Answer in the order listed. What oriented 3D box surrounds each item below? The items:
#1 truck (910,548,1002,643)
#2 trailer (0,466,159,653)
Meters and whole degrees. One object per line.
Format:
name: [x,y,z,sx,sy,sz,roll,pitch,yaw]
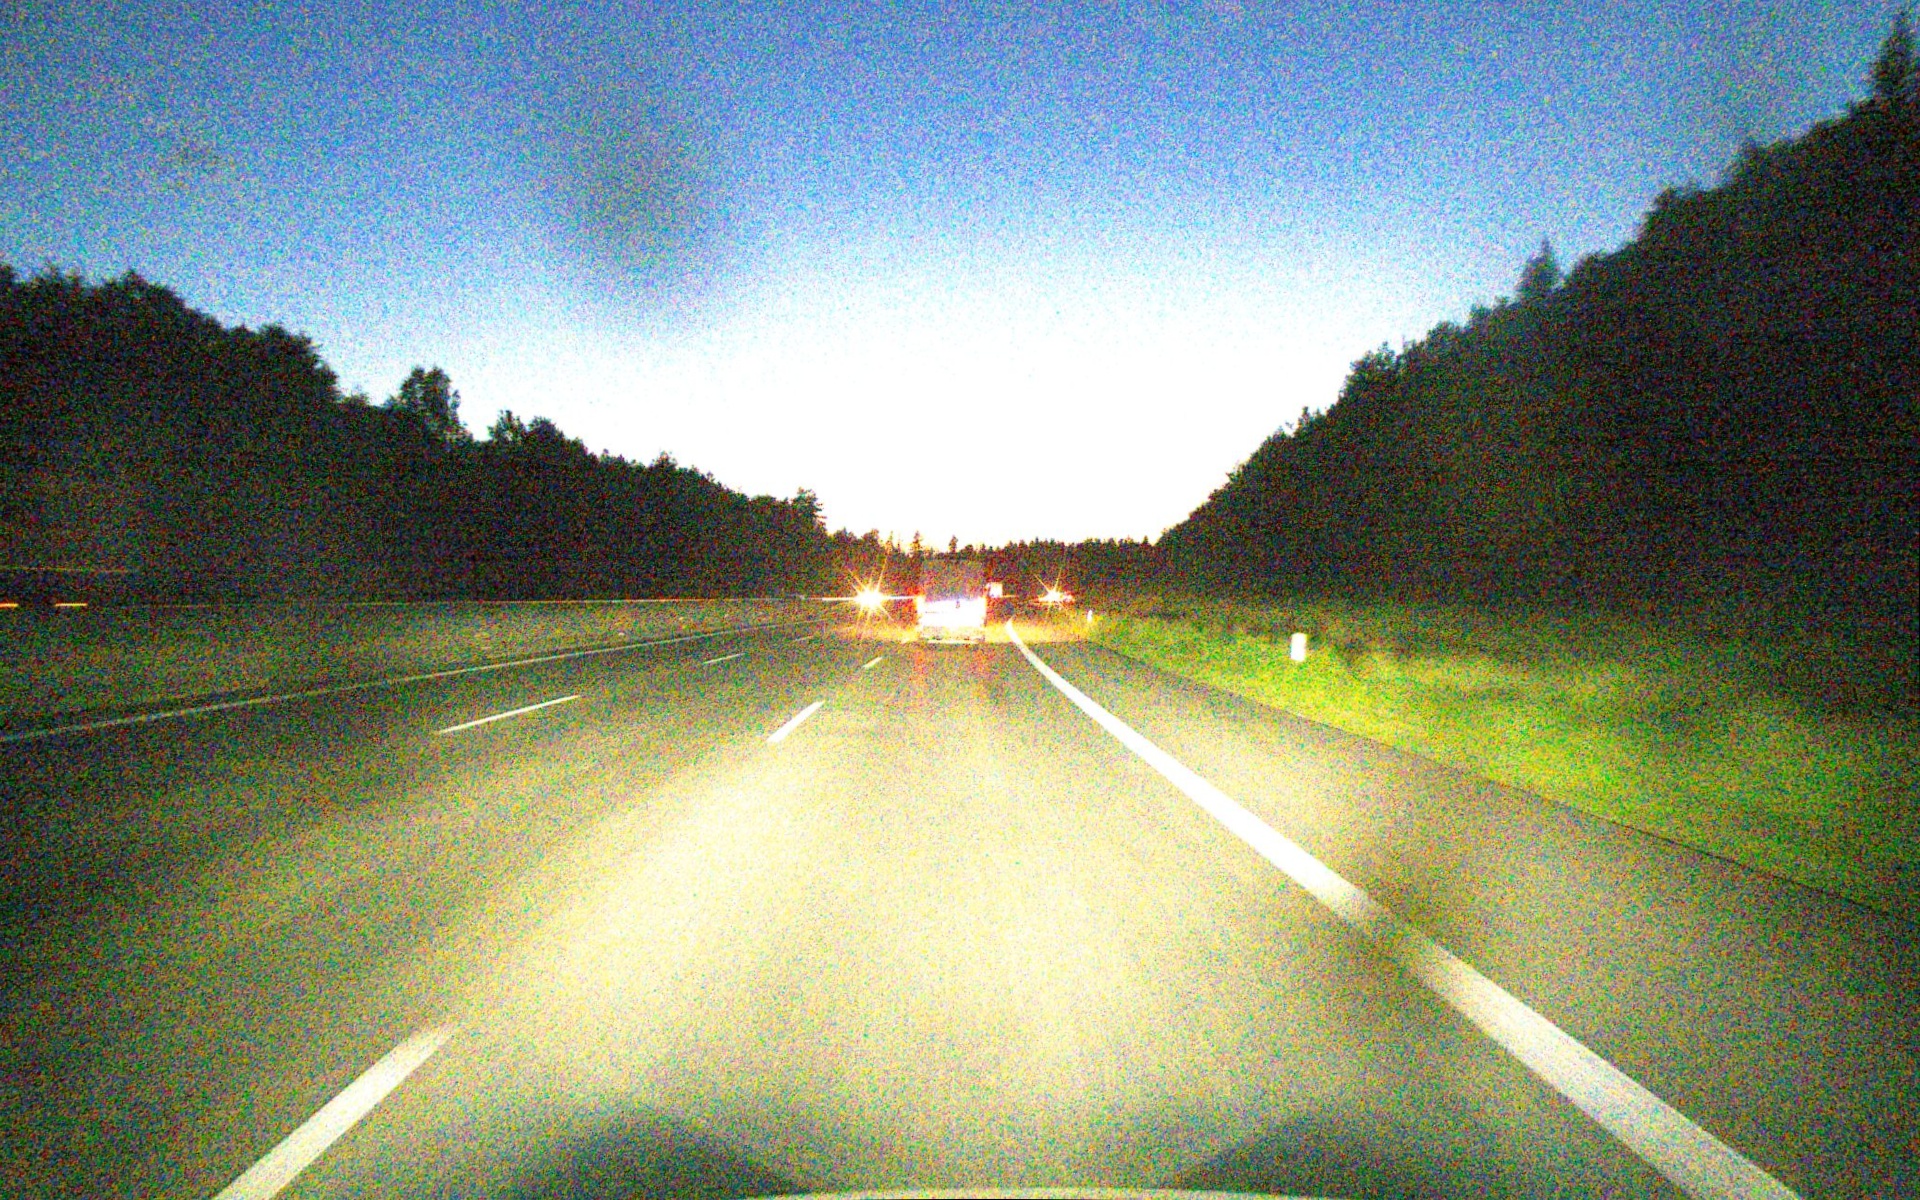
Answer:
truck: [-0.208,-0.103,51.069,2.577,2.670,8.682,0,0,-1]
trailer: [-22.563,-0.899,34.309,3.470,4.070,17.281,0,0,0]
